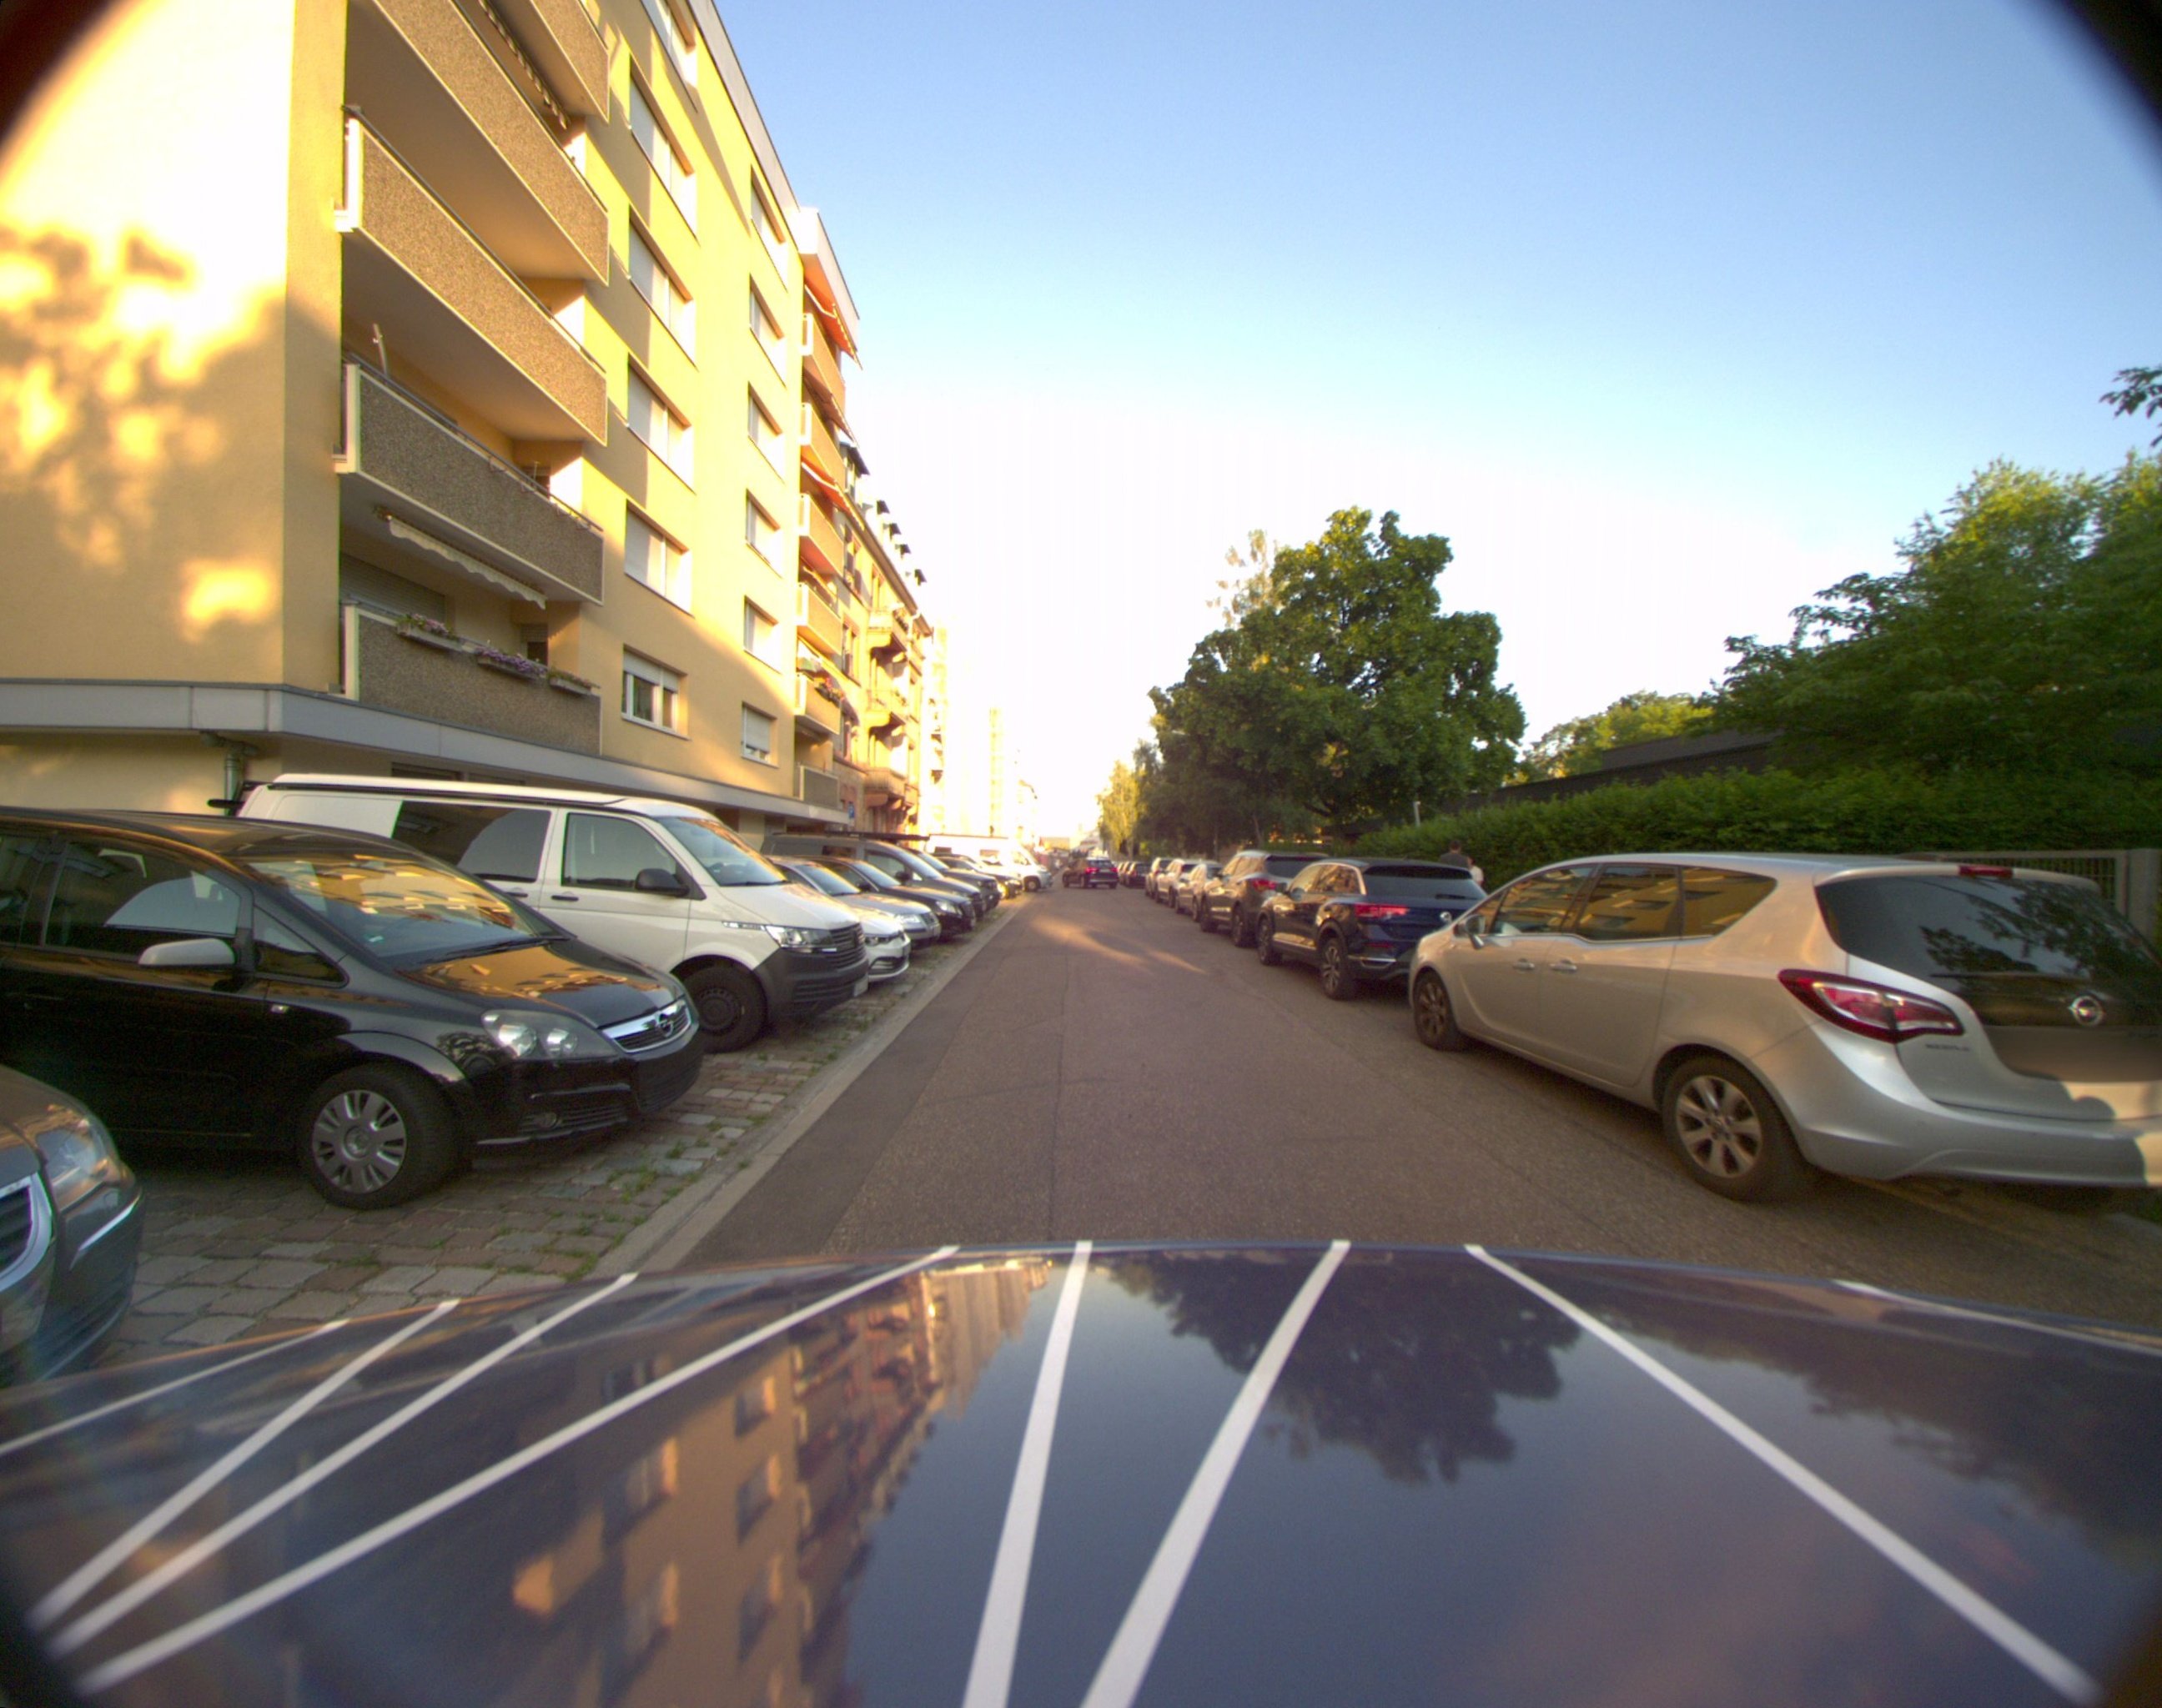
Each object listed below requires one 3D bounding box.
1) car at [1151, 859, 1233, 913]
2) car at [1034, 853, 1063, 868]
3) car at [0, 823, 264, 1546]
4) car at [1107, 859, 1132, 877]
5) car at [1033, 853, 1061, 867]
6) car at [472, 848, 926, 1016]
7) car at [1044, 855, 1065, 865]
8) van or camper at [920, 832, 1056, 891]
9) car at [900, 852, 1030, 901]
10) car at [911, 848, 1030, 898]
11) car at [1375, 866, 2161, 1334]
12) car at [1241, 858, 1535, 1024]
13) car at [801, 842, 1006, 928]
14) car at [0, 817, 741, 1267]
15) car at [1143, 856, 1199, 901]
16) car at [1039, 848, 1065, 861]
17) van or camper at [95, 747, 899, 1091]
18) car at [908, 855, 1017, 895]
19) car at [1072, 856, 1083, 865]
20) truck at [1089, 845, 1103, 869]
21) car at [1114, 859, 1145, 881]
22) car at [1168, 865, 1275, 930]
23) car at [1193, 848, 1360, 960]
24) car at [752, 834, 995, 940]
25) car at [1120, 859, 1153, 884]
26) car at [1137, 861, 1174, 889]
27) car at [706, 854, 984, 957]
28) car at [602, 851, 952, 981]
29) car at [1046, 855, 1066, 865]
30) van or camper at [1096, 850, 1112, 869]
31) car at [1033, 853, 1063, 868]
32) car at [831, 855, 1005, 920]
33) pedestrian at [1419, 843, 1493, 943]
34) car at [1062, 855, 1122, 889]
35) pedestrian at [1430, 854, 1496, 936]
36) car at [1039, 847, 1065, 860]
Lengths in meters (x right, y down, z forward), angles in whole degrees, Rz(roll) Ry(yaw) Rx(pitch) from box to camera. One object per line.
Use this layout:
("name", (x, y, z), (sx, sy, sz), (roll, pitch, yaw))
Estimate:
("car", (3.506, 0.971, 24.725), (1.764, 1.534, 4.279), (2, 0, -3))
("car", (-4.527, 0.898, 107.548), (3.997, 2.002, 2.000), (0, 0, -1))
("car", (-4.666, 0.679, 1.287), (4.416, 1.652, 1.844), (3, 2, -3))
("car", (3.224, 1.169, 64.008), (1.738, 1.358, 3.804), (2, 0, -1))
("car", (-4.908, 0.895, 110.091), (3.997, 2.002, 2.000), (0, 0, -1))
("car", (-4.242, 0.830, 8.996), (4.415, 1.622, 1.845), (2, 2, -1))
("car", (-5.268, 1.137, 151.019), (3.997, 2.002, 2.000), (0, 0, -1))
("van or camper", (-4.287, 0.352, 35.888), (6.075, 2.489, 2.050), (2, 0, 0))
("car", (-4.188, 0.815, 27.933), (4.414, 1.545, 1.845), (2, 2, 0))
("car", (-4.384, 0.741, 30.502), (4.413, 1.739, 1.845), (2, 2, 3))
("car", (3.610, 0.907, 4.718), (1.738, 1.558, 4.128), (2, 0, -3))
("car", (3.430, 0.863, 9.450), (1.738, 1.558, 4.166), (2, 0, -3))
("car", (-4.202, 0.714, 18.514), (4.524, 1.852, 1.845), (2, 0, -1))
("car", (-4.359, 0.751, 3.922), (4.338, 1.652, 1.780), (3, 2, -3))
("car", (3.503, 0.916, 30.146), (1.738, 1.621, 3.980), (2, 0, 0))
("car", (-4.538, 0.151, 118.595), (3.997, 2.002, 2.000), (0, 0, -1))
("van or camper", (-4.430, 0.492, 6.528), (5.147, 2.155, 2.039), (4, 1, -2))
("car", (-5.099, 0.889, 33.030), (4.414, 1.610, 1.845), (0, 2, 1))
("car", (-0.633, 1.200, 138.638), (1.738, 1.502, 4.291), (2, 0, -1))
("truck", (2.494, 0.480, 129.118), (2.183, 3.860, 4.926), (0, 0, 0))
("car", (3.358, 1.122, 53.117), (1.738, 1.417, 3.804), (2, 0, -1))
("car", (3.524, 1.039, 19.869), (1.738, 1.418, 4.285), (2, 0, -3))
("car", (3.419, 0.806, 14.166), (1.738, 1.720, 4.322), (2, 0, -3))
("car", (-4.274, 0.643, 16.188), (4.649, 1.970, 1.845), (2, 2, -1))
("car", (3.397, 1.073, 47.115), (1.738, 1.438, 3.805), (2, 0, 0))
("car", (3.984, 1.103, 41.263), (1.624, 1.417, 3.415), (2, 0, 0))
("car", (-4.085, 0.872, 13.696), (4.415, 1.554, 1.845), (2, 2, -1))
("car", (-4.286, 0.843, 11.249), (4.415, 1.584, 1.845), (2, 2, -1))
("car", (-5.112, 1.132, 153.447), (3.997, 2.002, 2.000), (0, 0, -1))
("van or camper", (3.078, 0.732, 102.054), (1.825, 2.400, 4.291), (2, 0, -1))
("car", (-4.550, 0.902, 105.328), (3.997, 2.002, 2.000), (0, 0, -1))
("car", (-4.463, 0.890, 21.228), (4.414, 1.545, 1.845), (2, 2, 2))
("pedestrian", (6.755, 0.687, 13.716), (0.901, 1.722, 0.750), (-2, 0, -2))
("car", (0.512, 0.886, 39.655), (1.741, 1.621, 4.118), (2, 0, -20))
("pedestrian", (7.356, 0.771, 14.678), (0.750, 1.499, 0.901), (-2, 0, -2))
("car", (-4.656, -0.048, 121.749), (3.997, 2.002, 2.000), (0, 0, -1))
